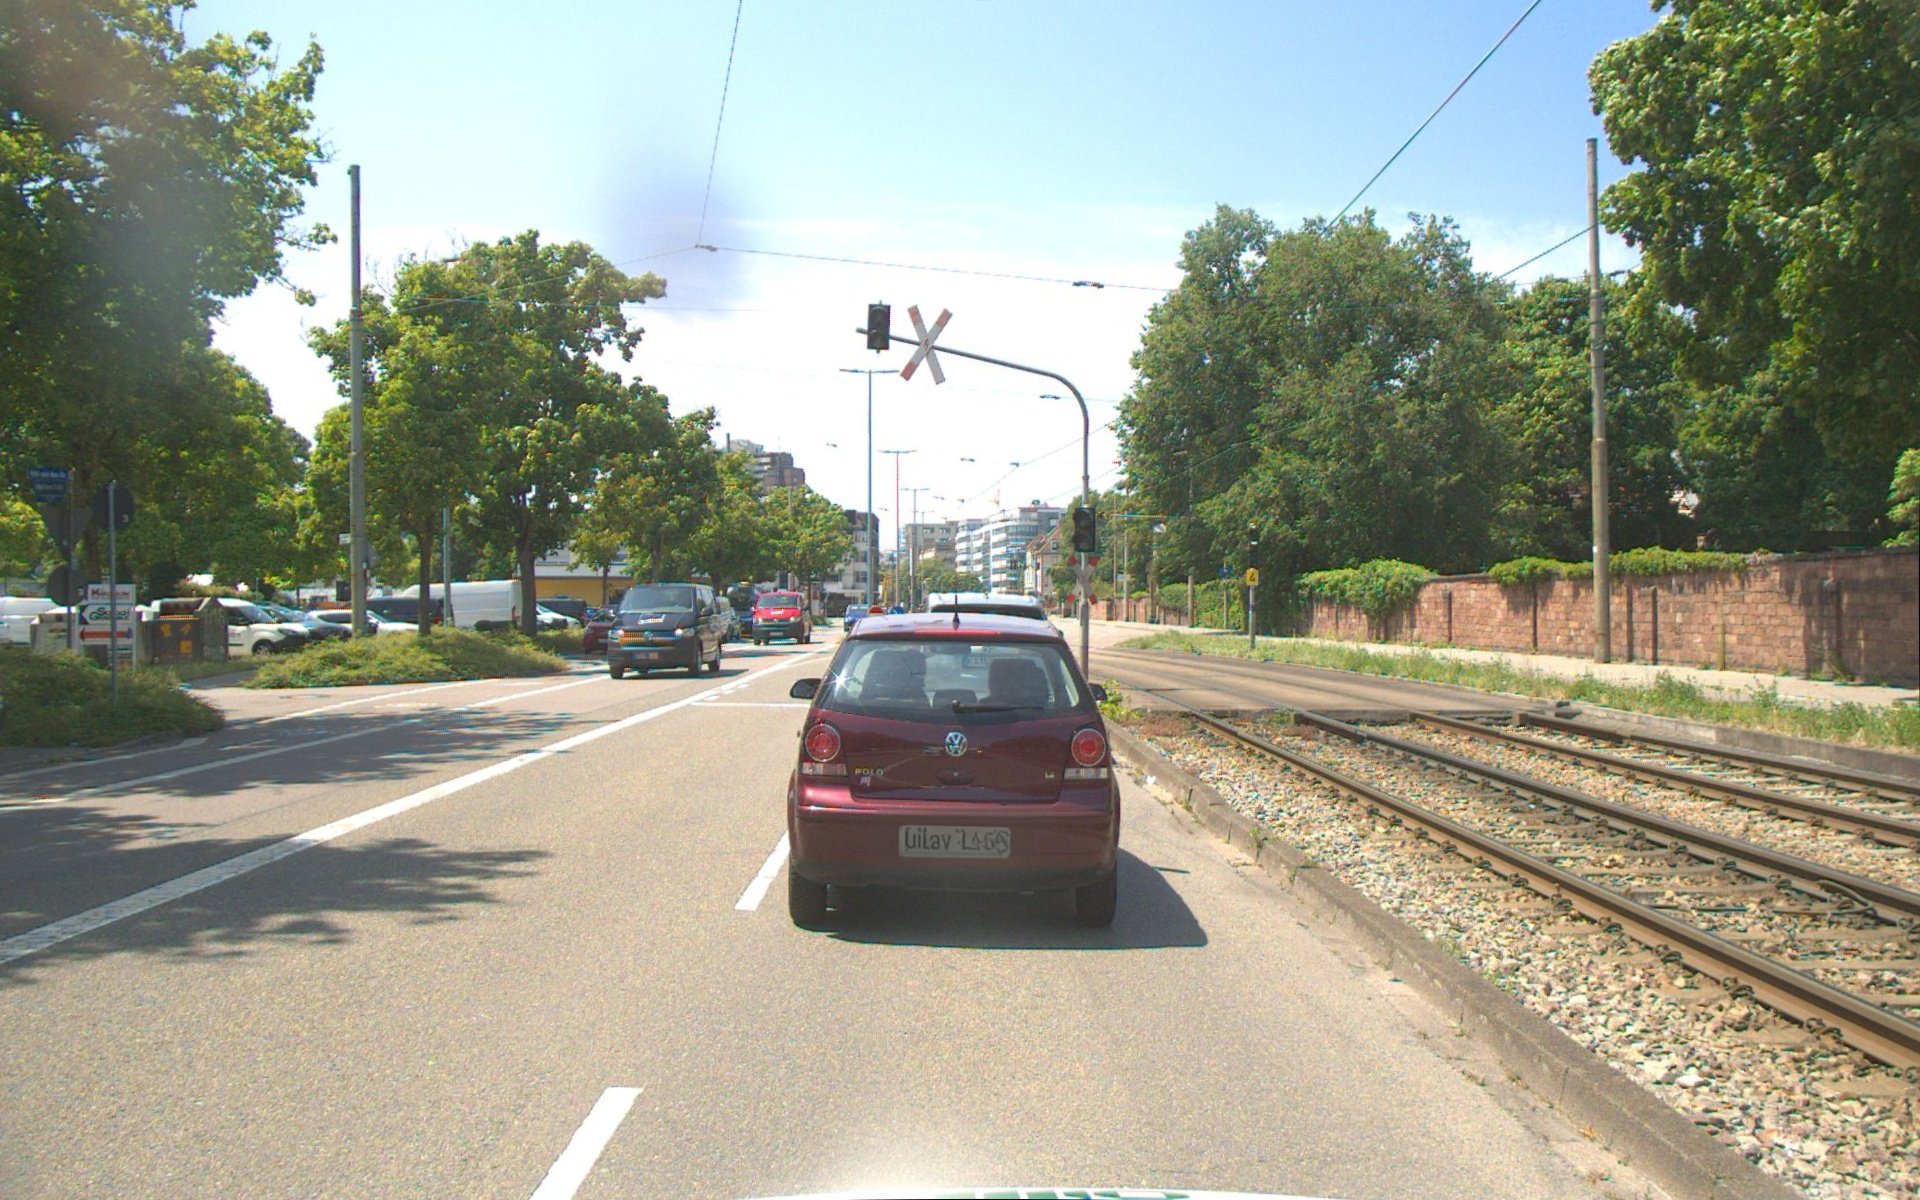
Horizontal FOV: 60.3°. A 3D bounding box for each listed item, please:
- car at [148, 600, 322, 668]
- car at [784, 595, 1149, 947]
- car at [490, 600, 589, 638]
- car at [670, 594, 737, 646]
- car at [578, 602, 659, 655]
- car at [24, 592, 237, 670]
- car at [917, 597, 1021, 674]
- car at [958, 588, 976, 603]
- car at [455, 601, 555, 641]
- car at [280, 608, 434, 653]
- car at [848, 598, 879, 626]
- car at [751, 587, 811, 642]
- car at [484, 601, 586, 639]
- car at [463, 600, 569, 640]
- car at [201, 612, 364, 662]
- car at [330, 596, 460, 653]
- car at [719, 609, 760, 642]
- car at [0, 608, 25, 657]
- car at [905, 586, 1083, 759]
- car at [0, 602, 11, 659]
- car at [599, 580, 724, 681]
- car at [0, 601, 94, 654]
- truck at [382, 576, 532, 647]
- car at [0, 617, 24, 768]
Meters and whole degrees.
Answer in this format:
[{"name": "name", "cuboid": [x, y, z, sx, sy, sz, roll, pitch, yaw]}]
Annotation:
[{"name": "car", "cuboid": [-20.530, 0.944, 46.928, 4.178, 1.868, 1.673, -1, 0, 1]}, {"name": "car", "cuboid": [-0.005, 0.752, 9.252, 1.577, 1.524, 3.999, 1, 0, -1]}, {"name": "car", "cuboid": [-21.539, 0.966, 84.921, 4.623, 1.845, 1.796, -1, 0, -2]}, {"name": "car", "cuboid": [-10.690, 0.817, 69.311, 1.824, 1.971, 4.806, 3, 0, 2]}, {"name": "car", "cuboid": [-10.687, 0.872, 51.944, 1.637, 1.573, 3.727, 1, -1, 2]}, {"name": "car", "cuboid": [-21.092, 0.762, 42.223, 4.361, 1.889, 2.059, -1, 0, -5]}, {"name": "car", "cuboid": [0.269, 0.788, 38.546, 1.736, 1.659, 4.003, 1, 0, 11]}, {"name": "car", "cuboid": [0.904, -0.575, 209.948, 1.881, 1.944, 4.566, -1, 0, -5]}, {"name": "car", "cuboid": [-21.133, 0.978, 76.917, 4.125, 1.796, 1.856, -1, 0, -2]}, {"name": "car", "cuboid": [-21.098, 1.056, 58.023, 4.665, 1.514, 2.057, -1, 0, -2]}, {"name": "car", "cuboid": [-5.995, 0.735, 102.800, 1.702, 1.686, 4.066, -1, 0, -1]}, {"name": "car", "cuboid": [-6.738, 0.518, 62.695, 1.861, 1.959, 4.817, -1, 0, -2]}, {"name": "car", "cuboid": [-21.140, 0.991, 82.369, 4.623, 1.845, 1.796, -1, 0, -2]}, {"name": "car", "cuboid": [-21.265, 0.961, 79.365, 4.623, 1.845, 1.796, -1, 0, -2]}, {"name": "car", "cuboid": [-20.474, 1.097, 50.142, 4.114, 1.428, 2.079, -1, 0, -5]}, {"name": "car", "cuboid": [-20.729, 0.892, 60.763, 4.125, 2.030, 1.856, -1, 0, -2]}, {"name": "car", "cuboid": [-10.485, 1.196, 78.891, 1.376, 1.465, 3.839, 3, 0, 0]}, {"name": "car", "cuboid": [-33.881, 1.083, 55.787, 3.671, 1.603, 1.732, 0, 0, -2]}, {"name": "car", "cuboid": [0.307, 0.728, 18.566, 1.759, 1.712, 3.999, 1, 0, -1]}, {"name": "car", "cuboid": [-32.971, 0.977, 53.062, 4.044, 1.852, 1.647, 0, 0, -2]}, {"name": "car", "cuboid": [-6.268, 0.606, 35.199, 1.879, 1.944, 4.570, -1, 0, -1]}, {"name": "car", "cuboid": [-33.108, 0.959, 58.323, 4.044, 1.852, 1.970, 0, -1, -2]}, {"name": "truck", "cuboid": [-20.863, 0.470, 68.752, 5.463, 2.808, 2.432, -1, 0, 0]}, {"name": "car", "cuboid": [-10.232, 0.898, 14.182, 1.856, 1.482, 4.807, 1, 0, -3]}]
